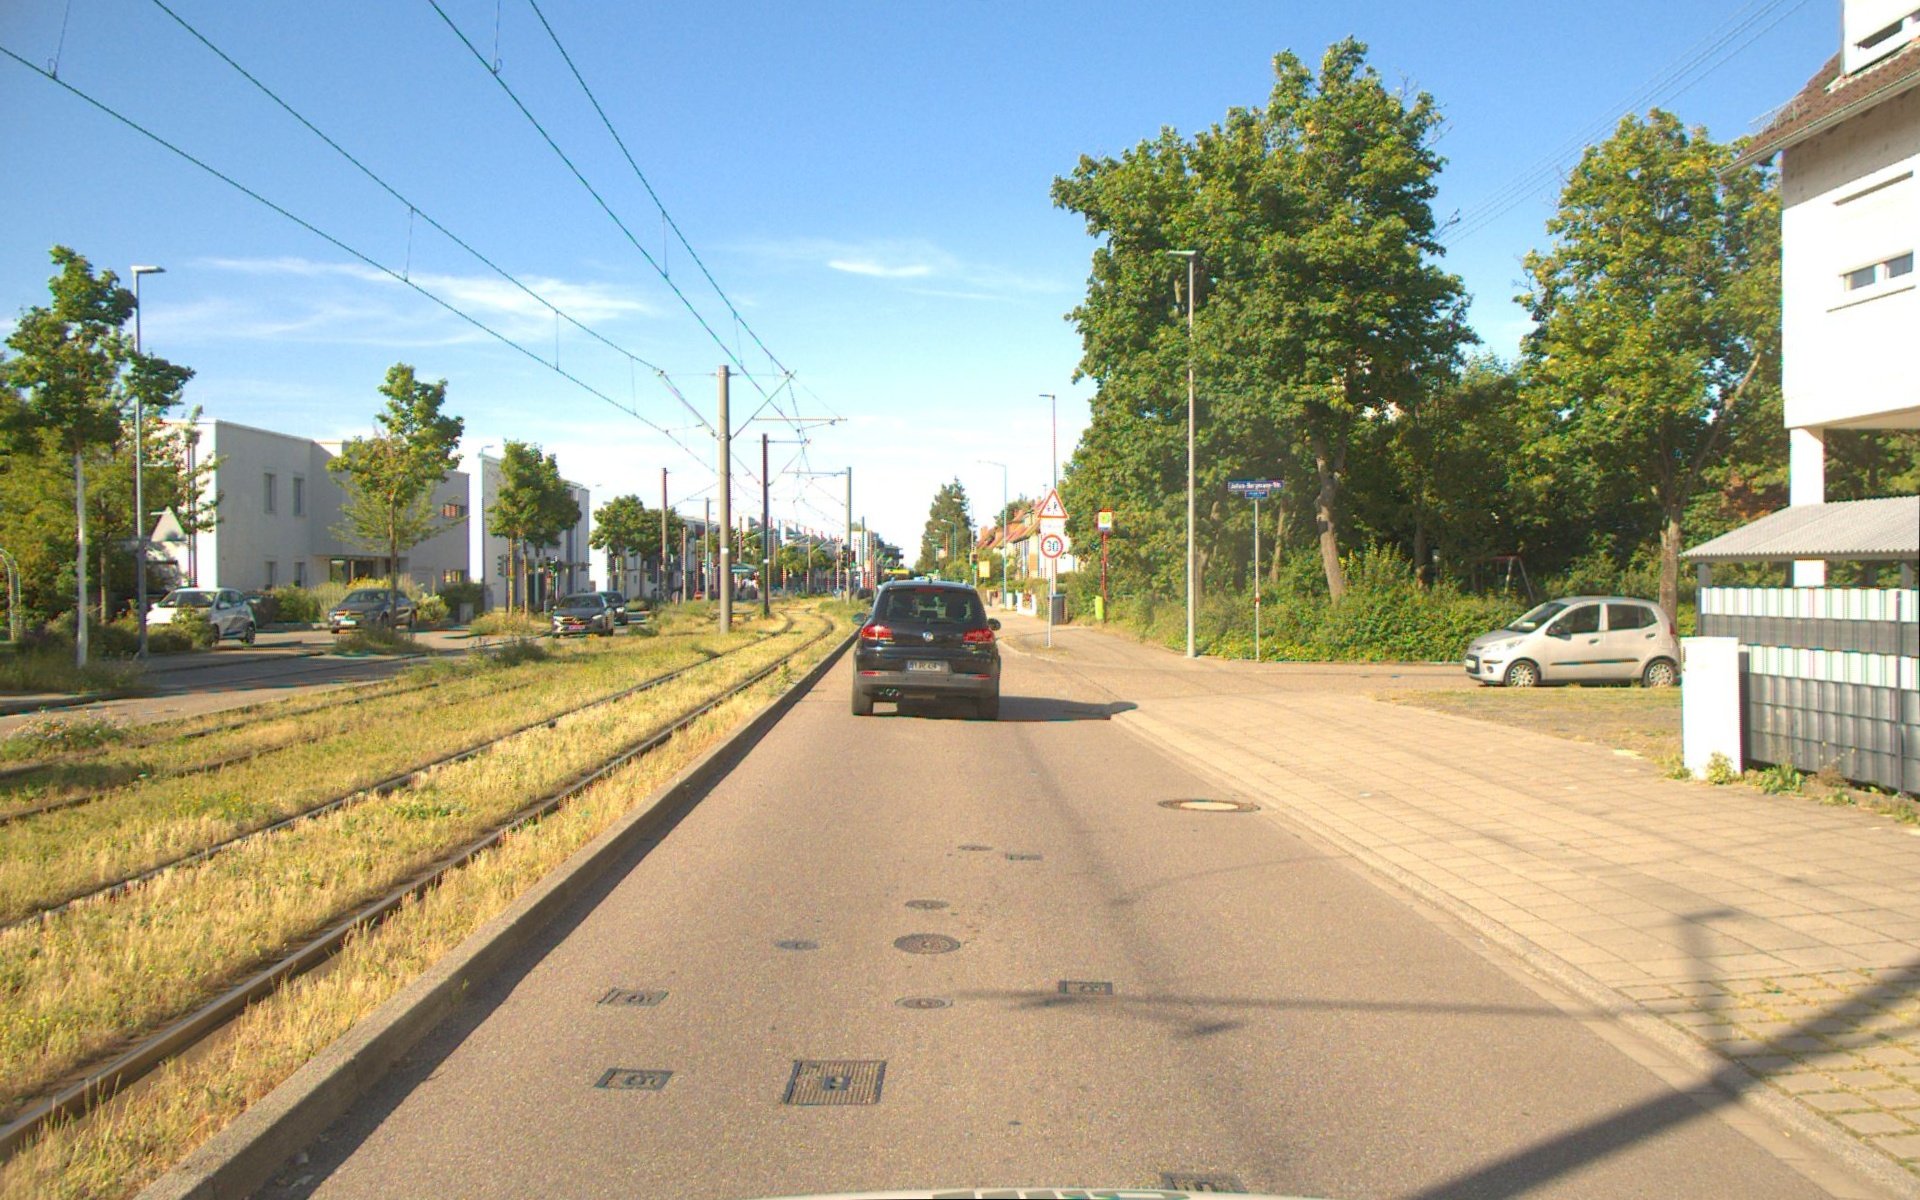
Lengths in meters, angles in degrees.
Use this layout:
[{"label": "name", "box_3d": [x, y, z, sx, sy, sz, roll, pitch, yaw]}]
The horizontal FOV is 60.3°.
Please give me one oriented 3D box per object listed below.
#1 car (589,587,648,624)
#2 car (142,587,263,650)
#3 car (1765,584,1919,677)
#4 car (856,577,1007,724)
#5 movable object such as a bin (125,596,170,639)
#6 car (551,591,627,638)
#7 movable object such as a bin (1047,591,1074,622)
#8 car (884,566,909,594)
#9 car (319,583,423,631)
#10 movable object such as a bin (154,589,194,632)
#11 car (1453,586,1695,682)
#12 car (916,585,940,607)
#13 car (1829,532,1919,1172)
[{"label": "car", "box_3d": [-14.667, 0.230, 71.241, 1.727, 1.469, 4.914, -2, 0, -3]}, {"label": "car", "box_3d": [-19.242, 0.445, 42.172, 1.513, 1.517, 3.773, 1, 0, -3]}, {"label": "car", "box_3d": [16.278, 0.497, 28.573, 3.920, 1.523, 1.744, -1, 0, -1]}, {"label": "car", "box_3d": [-0.457, 0.580, 21.392, 1.740, 1.699, 3.997, 1, 0, -4]}, {"label": "movable object such as a bin", "box_3d": [-27.056, 0.566, 55.098, 0.650, 1.407, 1.422, 1, 0, 6]}, {"label": "car", "box_3d": [-12.348, 0.454, 55.248, 1.654, 1.413, 4.386, -2, 0, -2]}, {"label": "movable object such as a bin", "box_3d": [3.668, 0.230, 60.358, 0.955, 1.130, 1.170, -1, 1, 2]}, {"label": "car", "box_3d": [-6.054, -1.912, 158.173, 2.346, 2.609, 5.528, 0, 0, -1]}, {"label": "car", "box_3d": [-19.635, 0.212, 55.310, 1.773, 1.486, 4.319, 1, 0, 2]}, {"label": "movable object such as a bin", "box_3d": [-26.938, 0.346, 56.692, 0.650, 1.458, 1.255, 1, 0, 6]}, {"label": "car", "box_3d": [10.443, 0.569, 28.297, 3.521, 1.557, 1.647, -1, 0, -1]}, {"label": "car", "box_3d": [-2.590, -0.335, 133.611, 1.740, 1.699, 3.997, -1, 0, -4]}, {"label": "car", "box_3d": [3.432, 0.643, 2.208, 1.755, 1.657, 4.858, -3, 1, -3]}]
